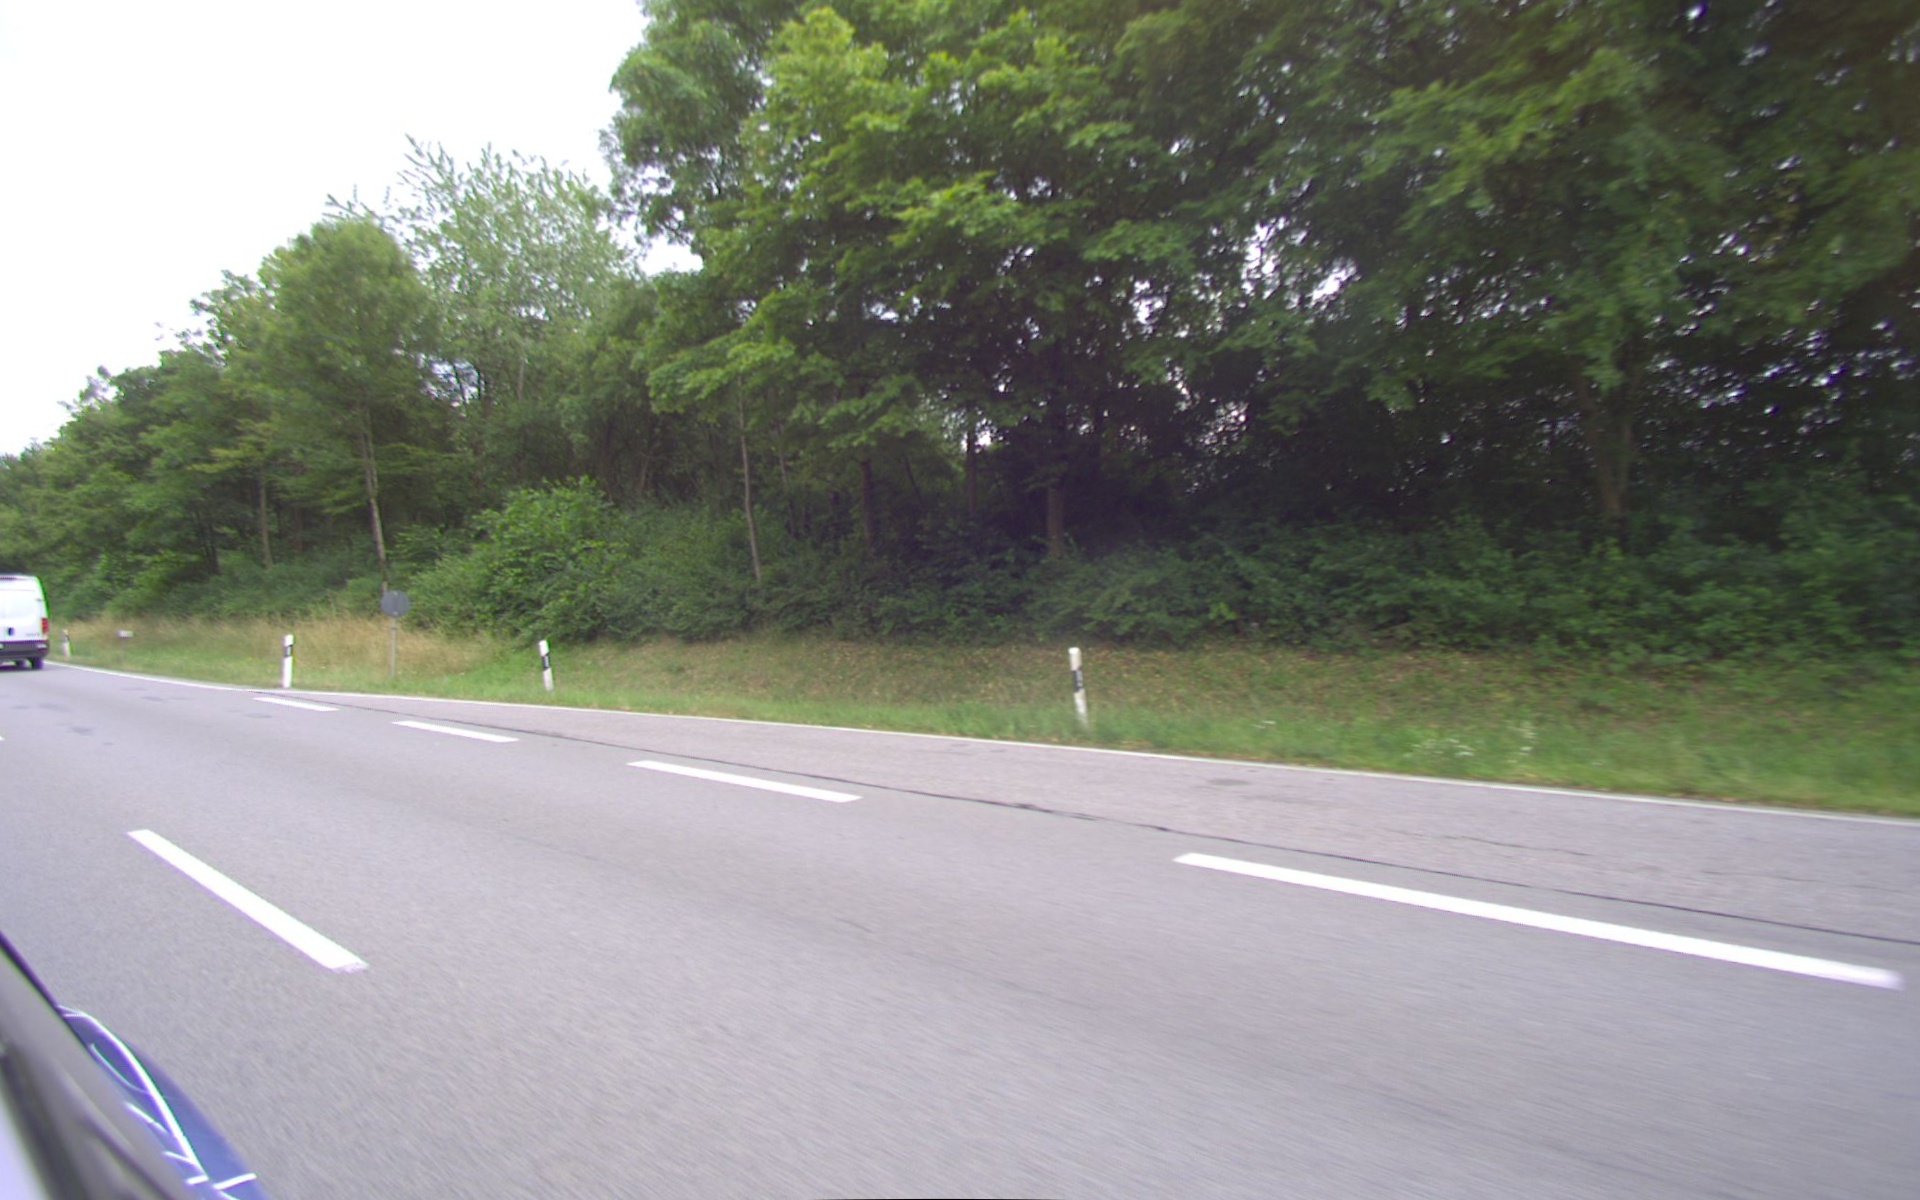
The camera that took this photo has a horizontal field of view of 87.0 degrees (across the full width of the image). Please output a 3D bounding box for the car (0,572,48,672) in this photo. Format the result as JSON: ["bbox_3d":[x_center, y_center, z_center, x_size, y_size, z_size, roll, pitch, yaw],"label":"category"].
[{"bbox_3d":[-28.207,0.622,29.318,5.975,2.717,1.973,-1,0,41],"label":"car"}]
